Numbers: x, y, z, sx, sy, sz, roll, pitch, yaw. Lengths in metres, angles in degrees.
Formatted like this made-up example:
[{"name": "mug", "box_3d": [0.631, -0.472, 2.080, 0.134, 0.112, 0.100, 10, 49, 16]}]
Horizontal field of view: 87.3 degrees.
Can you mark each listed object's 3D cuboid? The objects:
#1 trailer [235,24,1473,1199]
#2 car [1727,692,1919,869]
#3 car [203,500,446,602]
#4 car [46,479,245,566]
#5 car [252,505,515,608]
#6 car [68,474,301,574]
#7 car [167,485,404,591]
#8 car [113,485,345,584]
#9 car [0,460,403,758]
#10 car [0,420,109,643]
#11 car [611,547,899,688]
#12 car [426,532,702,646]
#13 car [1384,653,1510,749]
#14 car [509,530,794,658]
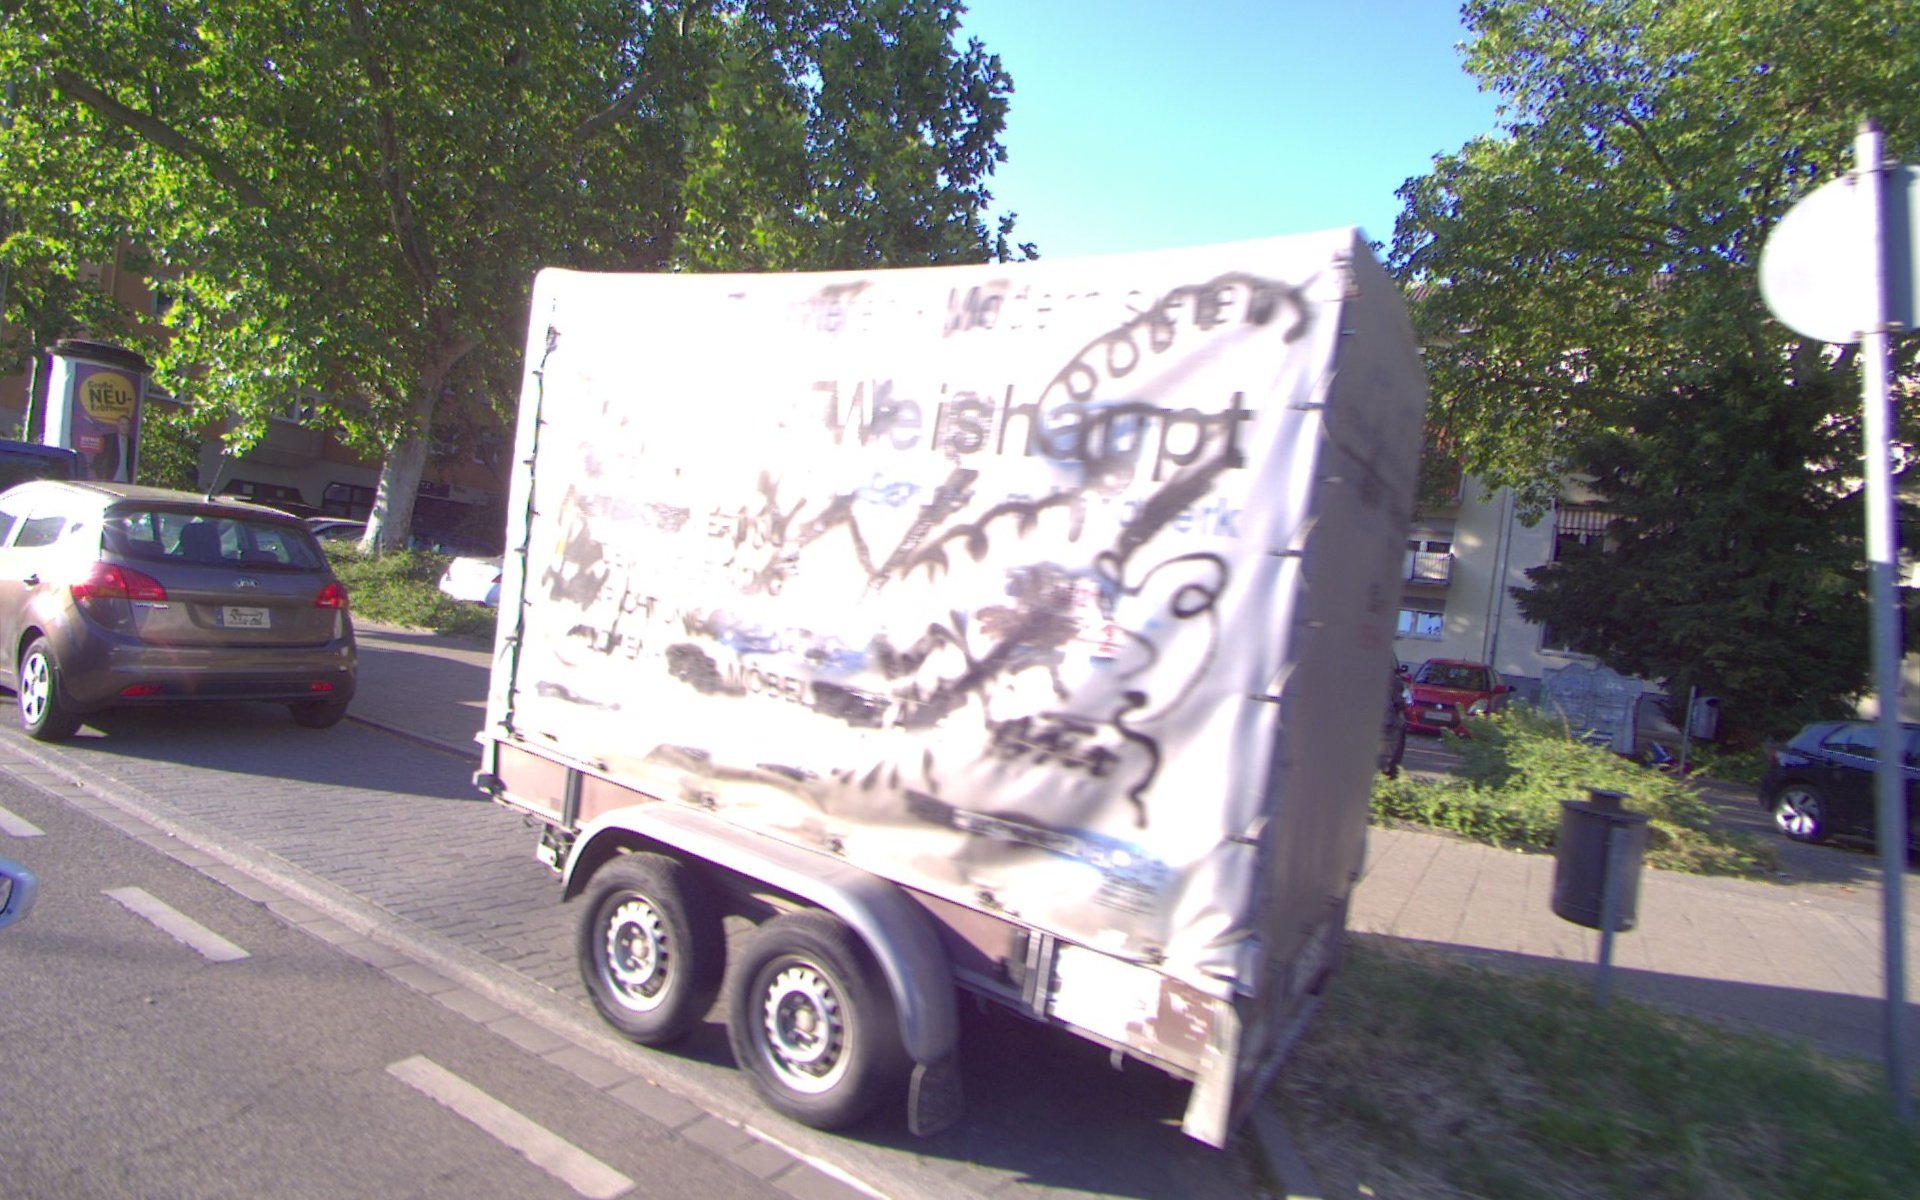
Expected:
[{"name": "trailer", "box_3d": [-0.689, -0.043, 4.088, 4.573, 2.620, 1.887, 7, 1, 32]}, {"name": "car", "box_3d": [10.393, 1.986, 9.896, 1.965, 1.514, 4.290, 7, 0, -7]}, {"name": "car", "box_3d": [-13.321, -0.975, 21.312, 1.773, 1.453, 3.847, 9, -1, 32]}, {"name": "car", "box_3d": [-20.984, -1.965, 26.053, 1.744, 1.499, 3.507, 7, -3, 30]}, {"name": "car", "box_3d": [-11.359, -0.797, 20.106, 1.773, 1.514, 4.115, 7, 0, 32]}, {"name": "car", "box_3d": [-18.959, -1.811, 24.800, 1.825, 1.618, 4.033, 7, -3, 30]}, {"name": "car", "box_3d": [-14.869, -1.316, 22.372, 1.826, 1.650, 3.847, 7, -2, 32]}, {"name": "car", "box_3d": [-16.842, -1.469, 23.359, 1.826, 1.511, 3.849, 7, -3, 32]}, {"name": "car", "box_3d": [-6.203, -0.064, 7.483, 3.933, 1.651, 1.797, 7, 0, 32]}, {"name": "car", "box_3d": [-11.154, -0.896, 10.623, 4.487, 2.104, 1.887, 7, 1, 32]}, {"name": "car", "box_3d": [-2.918, 0.357, 15.230, 1.773, 1.568, 4.120, 7, -2, 32]}, {"name": "car", "box_3d": [-6.725, -0.117, 17.520, 1.773, 1.514, 4.115, 7, 0, 32]}, {"name": "car", "box_3d": [10.012, 1.988, 20.629, 1.965, 1.514, 4.290, 7, 0, 27]}, {"name": "car", "box_3d": [-4.784, -0.013, 16.170, 1.773, 1.619, 4.115, 7, 0, 32]}]
